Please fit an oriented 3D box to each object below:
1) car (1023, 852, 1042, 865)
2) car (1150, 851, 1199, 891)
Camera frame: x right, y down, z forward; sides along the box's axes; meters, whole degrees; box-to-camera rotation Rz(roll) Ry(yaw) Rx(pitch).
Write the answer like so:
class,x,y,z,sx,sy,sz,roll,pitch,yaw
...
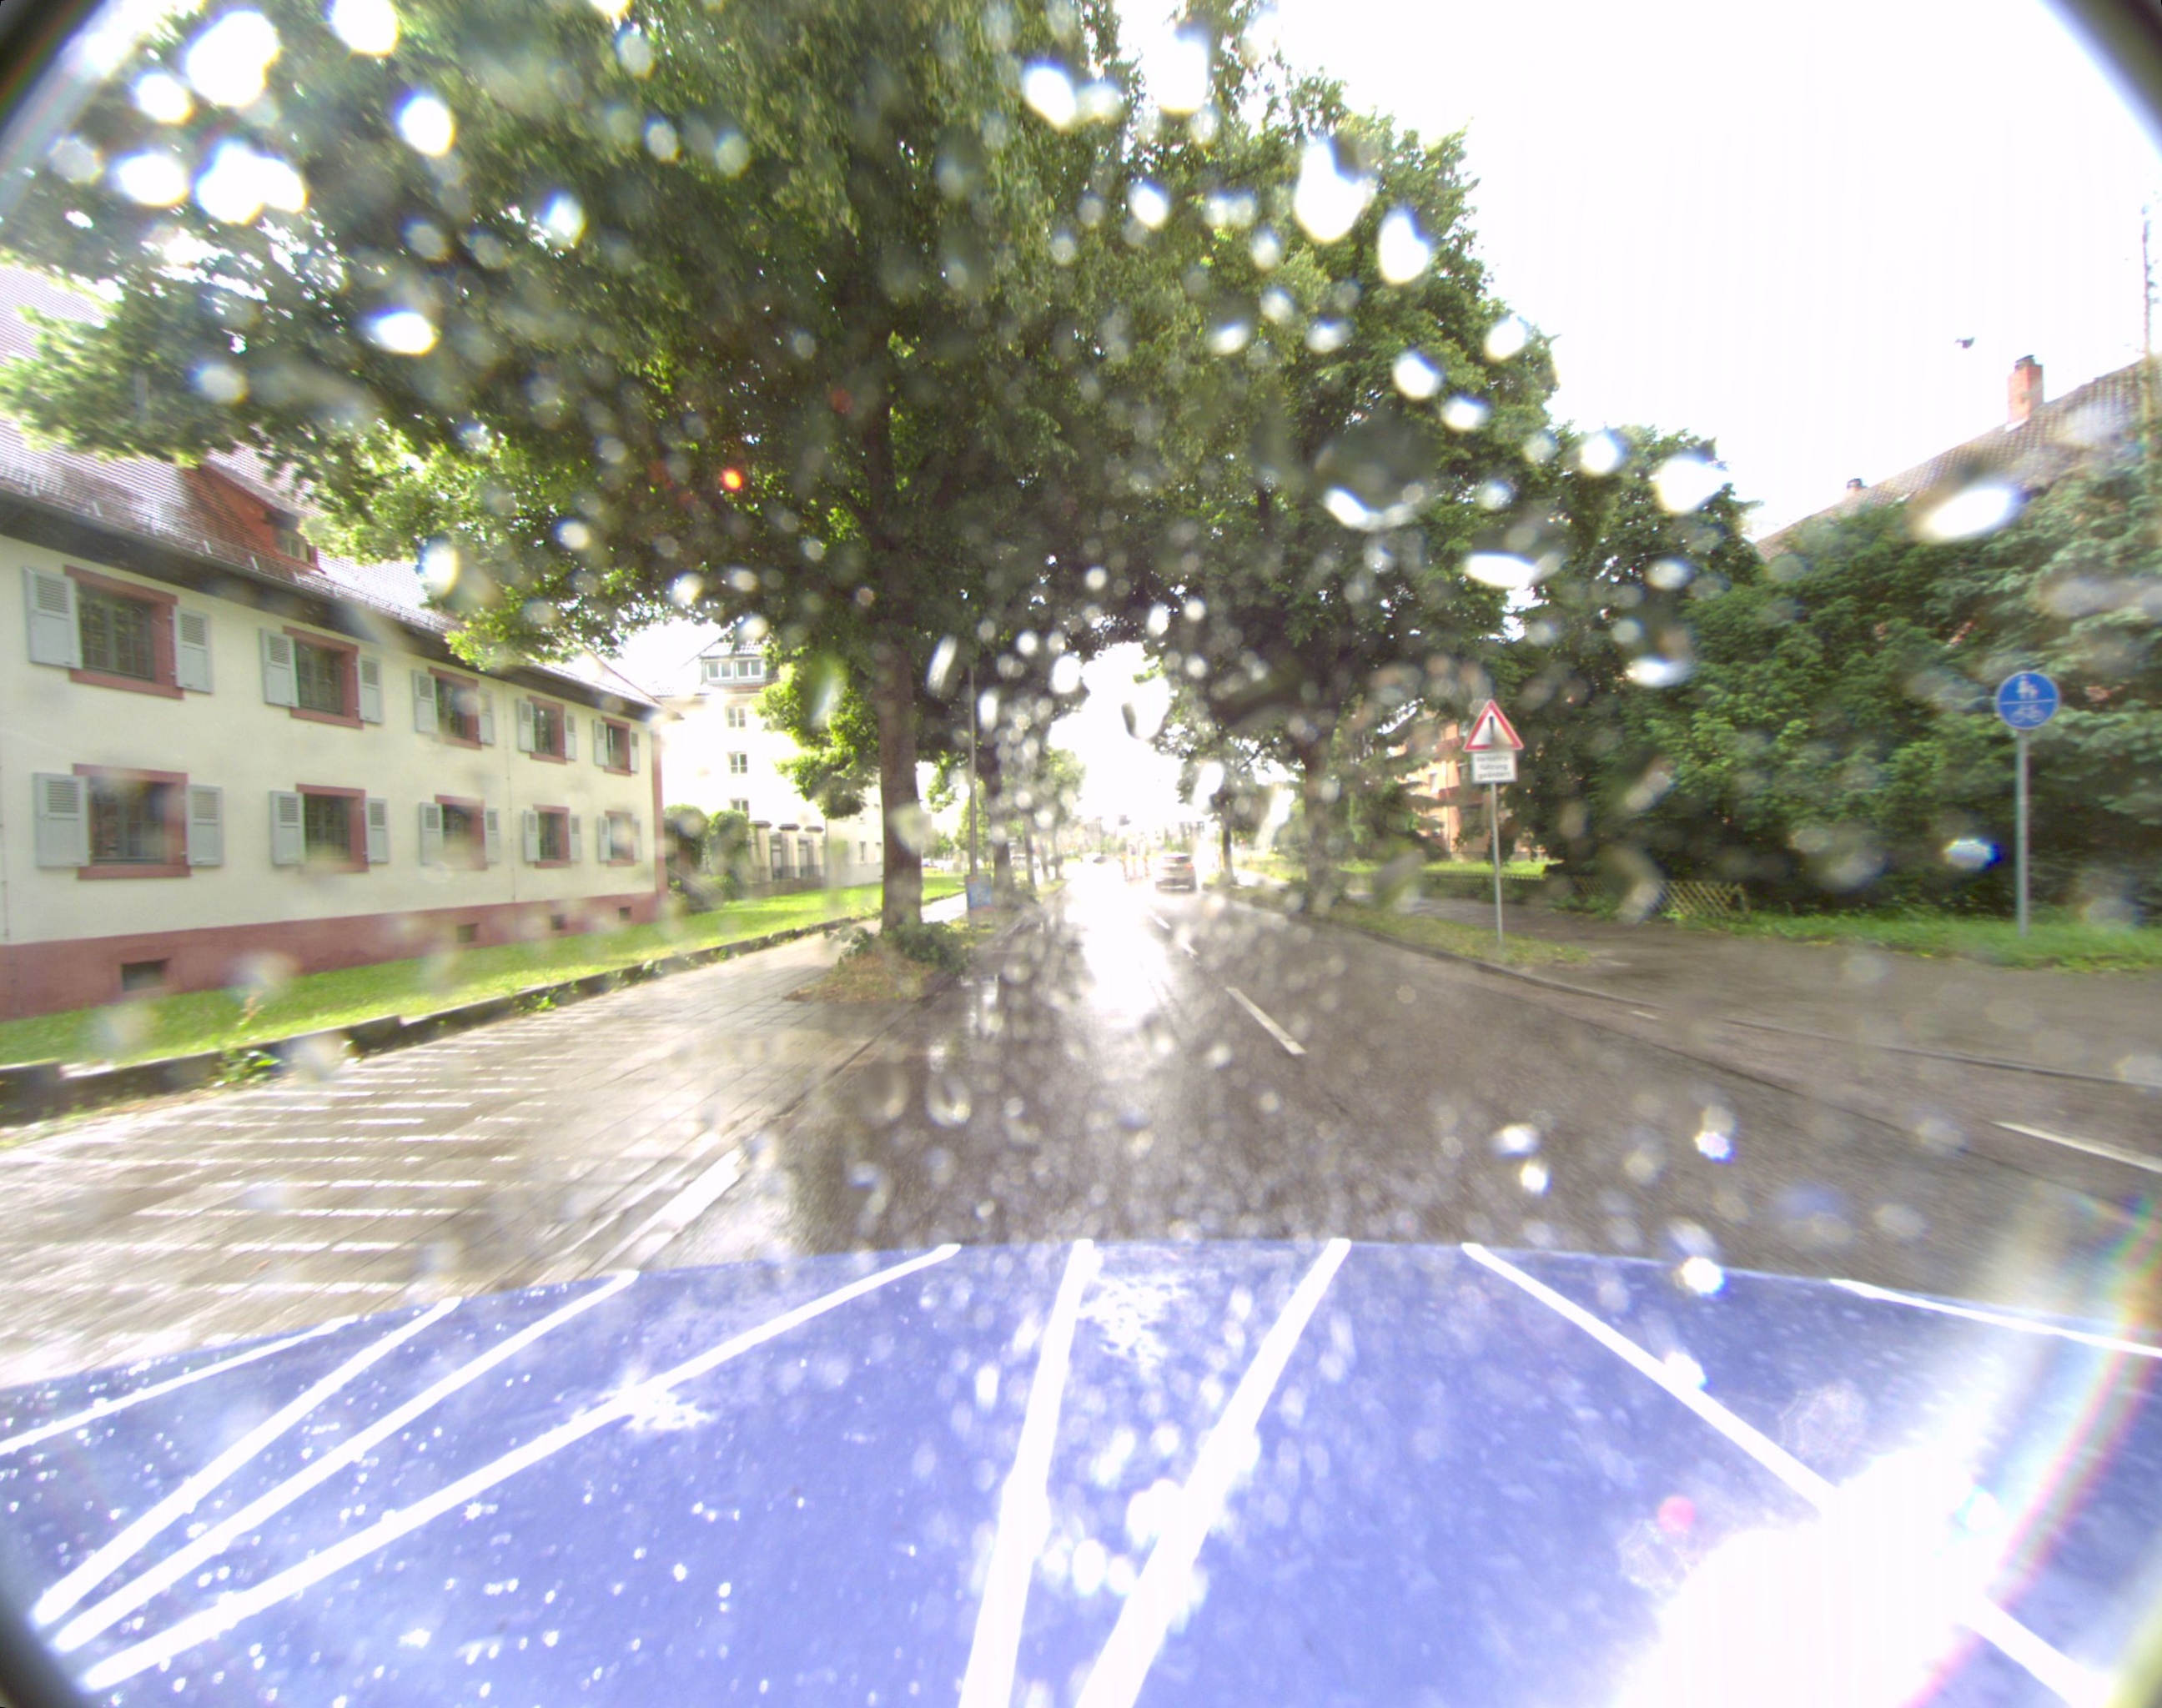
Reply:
class,x,y,z,sx,sy,sz,roll,pitch,yaw
car,-6.733,0.570,105.405,1.893,1.703,4.225,-2,0,-12
car,4.286,0.732,35.449,1.891,1.703,4.230,-2,0,2
